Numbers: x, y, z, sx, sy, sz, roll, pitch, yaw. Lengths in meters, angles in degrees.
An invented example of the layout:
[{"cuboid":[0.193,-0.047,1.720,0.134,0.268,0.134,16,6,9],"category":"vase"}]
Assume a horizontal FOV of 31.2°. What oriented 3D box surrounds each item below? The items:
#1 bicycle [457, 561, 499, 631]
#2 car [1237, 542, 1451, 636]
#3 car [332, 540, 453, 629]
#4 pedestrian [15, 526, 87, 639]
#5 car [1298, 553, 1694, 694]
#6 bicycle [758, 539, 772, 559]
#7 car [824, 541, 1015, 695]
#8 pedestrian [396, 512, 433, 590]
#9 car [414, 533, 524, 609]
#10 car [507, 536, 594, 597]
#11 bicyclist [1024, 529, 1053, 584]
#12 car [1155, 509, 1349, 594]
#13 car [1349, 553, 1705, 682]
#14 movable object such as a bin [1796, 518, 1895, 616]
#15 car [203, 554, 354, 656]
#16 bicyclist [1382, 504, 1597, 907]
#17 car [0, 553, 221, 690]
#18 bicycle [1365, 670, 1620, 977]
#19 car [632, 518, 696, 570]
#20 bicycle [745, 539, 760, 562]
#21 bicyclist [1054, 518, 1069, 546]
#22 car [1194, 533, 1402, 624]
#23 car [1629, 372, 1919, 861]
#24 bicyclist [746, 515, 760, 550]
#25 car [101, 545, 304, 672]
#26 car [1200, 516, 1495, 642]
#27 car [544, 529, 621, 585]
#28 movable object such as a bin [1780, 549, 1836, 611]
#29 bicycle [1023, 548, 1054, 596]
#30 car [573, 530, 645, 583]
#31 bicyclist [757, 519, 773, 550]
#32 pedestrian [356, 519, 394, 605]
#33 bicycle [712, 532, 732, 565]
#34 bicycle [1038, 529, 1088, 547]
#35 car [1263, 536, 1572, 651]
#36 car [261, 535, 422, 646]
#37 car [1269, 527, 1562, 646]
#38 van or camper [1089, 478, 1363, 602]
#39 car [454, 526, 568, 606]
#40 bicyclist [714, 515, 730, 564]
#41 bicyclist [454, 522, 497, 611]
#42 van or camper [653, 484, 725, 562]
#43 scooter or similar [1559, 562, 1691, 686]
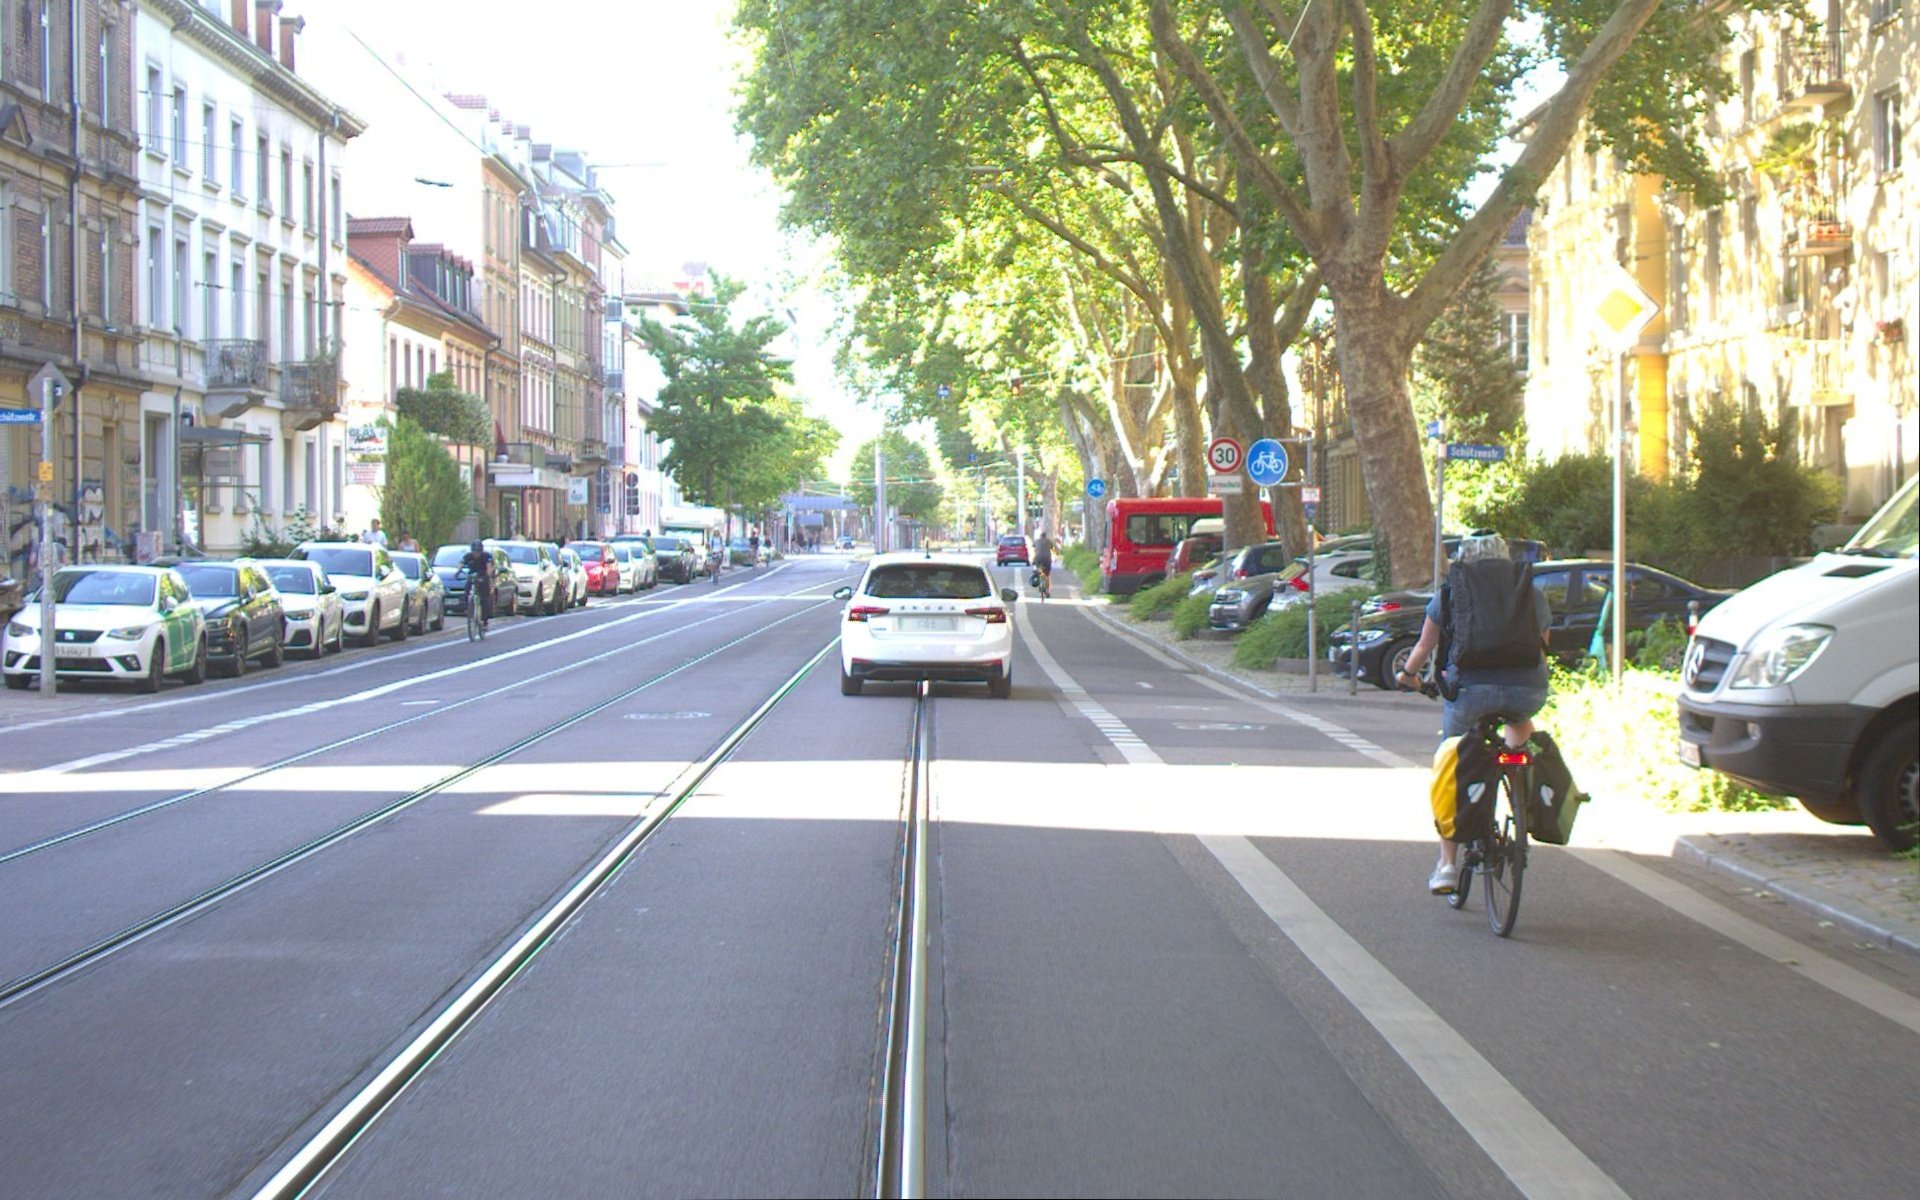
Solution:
[{"cuboid":[-8.152,-0.076,58.216,0.421,1.146,2.232,-1,1,-1],"category":"bicycle"},{"cuboid":[6.731,-0.199,60.479,3.595,1.594,1.541,-1,0,0],"category":"car"},{"cuboid":[-10.202,-0.309,62.048,1.662,1.515,4.065,1,1,-2],"category":"car"},{"cuboid":[-13.532,-0.260,51.169,0.663,1.659,0.767,1,1,32],"category":"pedestrian"},{"cuboid":[5.962,0.243,38.554,4.096,1.486,1.831,0,1,-2],"category":"car"},{"cuboid":[-9.647,-2.538,170.270,0.499,0.940,1.921,-2,1,2],"category":"bicycle"},{"cuboid":[-0.463,0.140,35.369,1.842,1.475,3.839,1,1,-2],"category":"car"},{"cuboid":[-12.834,-1.162,80.841,0.759,1.815,0.830,0,1,-3],"category":"pedestrian"},{"cuboid":[-10.192,-0.629,71.577,1.554,1.510,3.924,-1,1,2],"category":"car"},{"cuboid":[-10.398,-0.877,87.570,1.687,1.472,4.258,1,1,0],"category":"car"},{"cuboid":[1.927,-1.078,84.432,0.679,1.334,0.525,1,1,0],"category":"bicyclist"},{"cuboid":[6.142,-1.013,72.589,3.818,1.643,1.767,-2,0,-2],"category":"car"},{"cuboid":[6.769,0.195,41.360,4.097,1.486,1.681,0,1,5],"category":"car"},{"cuboid":[13.451,-0.502,52.252,1.167,1.432,1.117,-2,1,0],"category":"movable object such as a bin"},{"cuboid":[-10.079,0.043,51.067,1.699,1.415,4.001,1,1,-4],"category":"car"},{"cuboid":[2.140,0.406,13.999,0.614,1.547,0.935,4,1,0],"category":"bicyclist"},{"cuboid":[-10.005,0.215,40.640,1.740,1.486,4.045,1,1,-1],"category":"car"},{"cuboid":[2.107,0.850,13.915,0.595,1.001,2.511,2,1,0],"category":"bicycle"},{"cuboid":[-10.668,-2.036,124.026,1.964,1.775,4.938,2,1,-2],"category":"car"},{"cuboid":[-9.822,-2.345,162.789,0.484,1.044,2.039,-2,1,2],"category":"bicycle"},{"cuboid":[5.779,-3.892,195.847,0.737,1.583,0.586,0,1,13],"category":"bicyclist"},{"cuboid":[6.168,-0.412,62.917,3.595,1.512,1.694,-2,1,0],"category":"car"},{"cuboid":[6.487,0.018,16.955,5.991,2.274,2.006,-1,2,2],"category":"car"},{"cuboid":[-9.804,-3.187,162.722,0.535,1.629,0.896,-2,1,2],"category":"bicyclist"},{"cuboid":[-10.027,0.073,45.840,1.740,1.557,4.787,1,1,-1],"category":"car"},{"cuboid":[6.008,-0.346,53.596,4.261,1.713,1.849,-3,1,-2],"category":"car"},{"cuboid":[-10.722,-1.235,97.781,1.569,1.557,3.448,-1,1,4],"category":"car"},{"cuboid":[13.340,-0.318,54.087,0.747,0.940,0.465,-2,1,0],"category":"movable object such as a bin"},{"cuboid":[1.934,-0.705,84.803,0.680,1.151,2.964,1,1,0],"category":"bicycle"},{"cuboid":[-10.520,-1.328,103.316,1.827,1.497,4.689,1,1,-2],"category":"car"},{"cuboid":[-9.660,-3.257,170.287,0.638,1.498,1.070,-2,1,1],"category":"bicyclist"},{"cuboid":[-13.764,-0.902,80.871,0.759,2.007,0.830,0,1,-2],"category":"pedestrian"},{"cuboid":[-7.969,-1.735,115.122,0.481,1.082,1.846,-1,1,1],"category":"bicycle"},{"cuboid":[5.893,-3.543,195.831,2.771,0.996,0.592,1,1,15],"category":"bicycle"},{"cuboid":[6.347,-0.107,47.971,4.027,1.475,1.681,-1,1,-1],"category":"car"},{"cuboid":[-10.115,-0.198,56.490,1.786,1.717,4.719,1,1,0],"category":"car"},{"cuboid":[6.669,-0.217,50.562,4.027,1.638,1.681,-1,1,-2],"category":"car"},{"cuboid":[5.931,-1.361,77.104,5.814,2.510,2.288,-2,2,-2],"category":"van or camper"},{"cuboid":[-10.007,-0.783,76.898,1.857,1.698,4.763,-1,1,1],"category":"car"},{"cuboid":[-7.975,-2.022,115.178,0.473,1.630,0.800,-1,1,1],"category":"bicyclist"},{"cuboid":[-8.176,-0.564,58.049,0.582,1.477,0.807,-1,1,-1],"category":"bicyclist"},{"cuboid":[-11.243,-3.192,142.916,2.216,3.129,7.113,1,1,2],"category":"van or camper"},{"cuboid":[6.778,0.240,35.040,1.307,1.251,0.341,0,1,13],"category":"scooter or similar"}]
